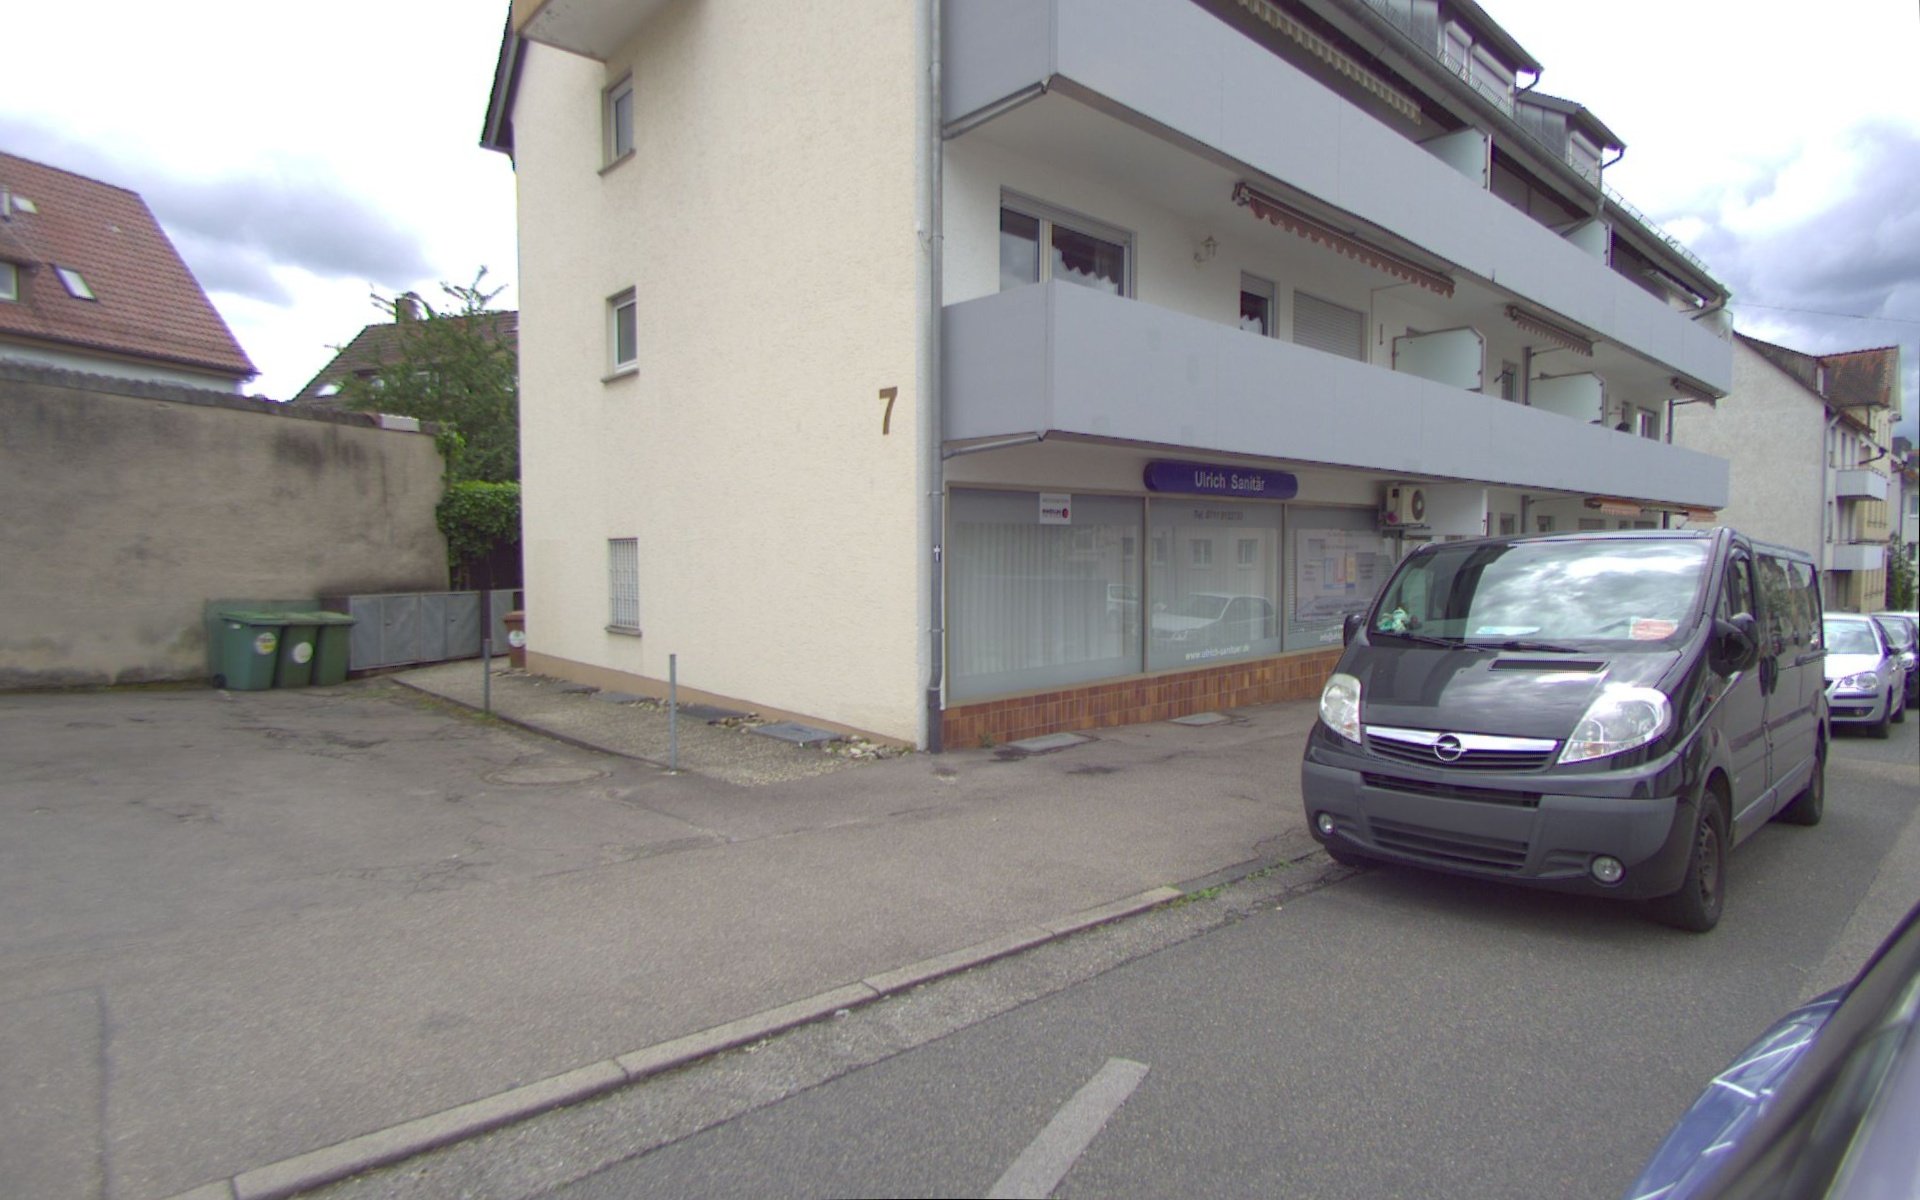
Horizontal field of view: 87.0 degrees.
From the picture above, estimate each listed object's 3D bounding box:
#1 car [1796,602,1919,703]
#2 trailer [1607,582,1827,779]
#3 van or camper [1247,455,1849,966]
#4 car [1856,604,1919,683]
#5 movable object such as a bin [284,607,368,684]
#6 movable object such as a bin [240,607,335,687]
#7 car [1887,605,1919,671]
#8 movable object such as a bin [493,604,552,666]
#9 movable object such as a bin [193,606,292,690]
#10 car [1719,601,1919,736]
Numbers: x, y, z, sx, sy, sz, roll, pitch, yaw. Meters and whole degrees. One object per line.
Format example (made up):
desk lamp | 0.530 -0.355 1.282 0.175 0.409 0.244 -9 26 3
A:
car | 15.143 0.780 16.694 3.794 1.473 1.611 0 0 -43
trailer | 7.297 0.651 9.683 1.421 1.587 2.791 0 0 43
van or camper | 4.057 0.454 6.494 4.979 2.039 1.995 0 -1 -43
car | 19.185 0.825 20.219 3.257 1.473 1.611 0 0 -43
movable object such as a bin | -9.636 0.694 15.390 0.925 1.119 0.576 1 -4 19
movable object such as a bin | -9.815 0.685 14.786 0.925 1.119 0.674 1 -4 19
car | 22.251 0.833 22.913 3.537 1.423 1.582 0 0 -43
movable object such as a bin | -7.254 0.573 16.786 0.649 0.952 0.575 0 5 29
movable object such as a bin | -10.028 0.676 14.156 0.925 1.119 0.639 1 -4 19
car | 11.387 0.760 13.215 4.260 1.473 1.611 0 0 -43
